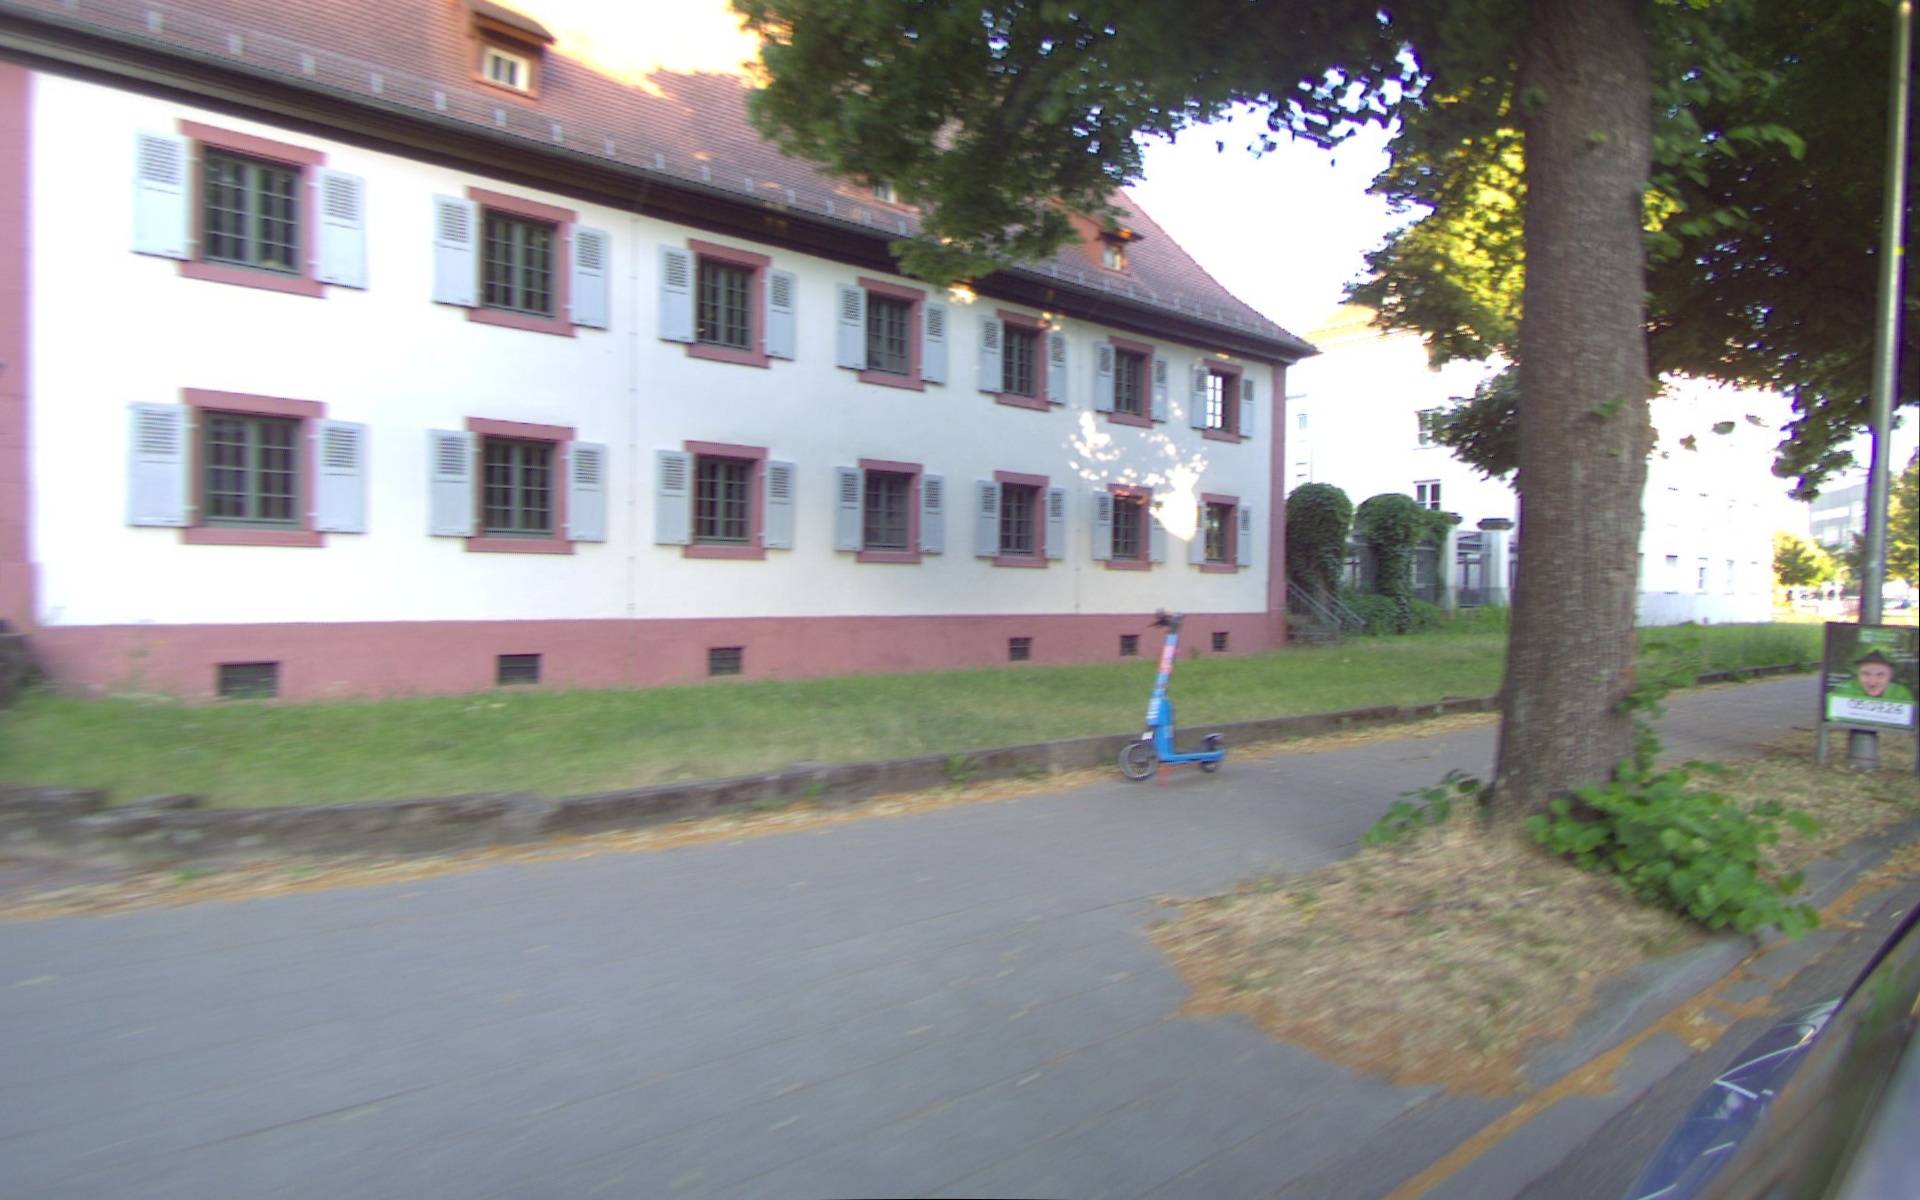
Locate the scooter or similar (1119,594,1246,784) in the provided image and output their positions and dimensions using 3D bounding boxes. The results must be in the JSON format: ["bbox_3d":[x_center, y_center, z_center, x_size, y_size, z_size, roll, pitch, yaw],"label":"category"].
[{"bbox_3d":[1.666,0.615,7.490,1.245,1.292,0.239,-1,2,-43],"label":"scooter or similar"}]
